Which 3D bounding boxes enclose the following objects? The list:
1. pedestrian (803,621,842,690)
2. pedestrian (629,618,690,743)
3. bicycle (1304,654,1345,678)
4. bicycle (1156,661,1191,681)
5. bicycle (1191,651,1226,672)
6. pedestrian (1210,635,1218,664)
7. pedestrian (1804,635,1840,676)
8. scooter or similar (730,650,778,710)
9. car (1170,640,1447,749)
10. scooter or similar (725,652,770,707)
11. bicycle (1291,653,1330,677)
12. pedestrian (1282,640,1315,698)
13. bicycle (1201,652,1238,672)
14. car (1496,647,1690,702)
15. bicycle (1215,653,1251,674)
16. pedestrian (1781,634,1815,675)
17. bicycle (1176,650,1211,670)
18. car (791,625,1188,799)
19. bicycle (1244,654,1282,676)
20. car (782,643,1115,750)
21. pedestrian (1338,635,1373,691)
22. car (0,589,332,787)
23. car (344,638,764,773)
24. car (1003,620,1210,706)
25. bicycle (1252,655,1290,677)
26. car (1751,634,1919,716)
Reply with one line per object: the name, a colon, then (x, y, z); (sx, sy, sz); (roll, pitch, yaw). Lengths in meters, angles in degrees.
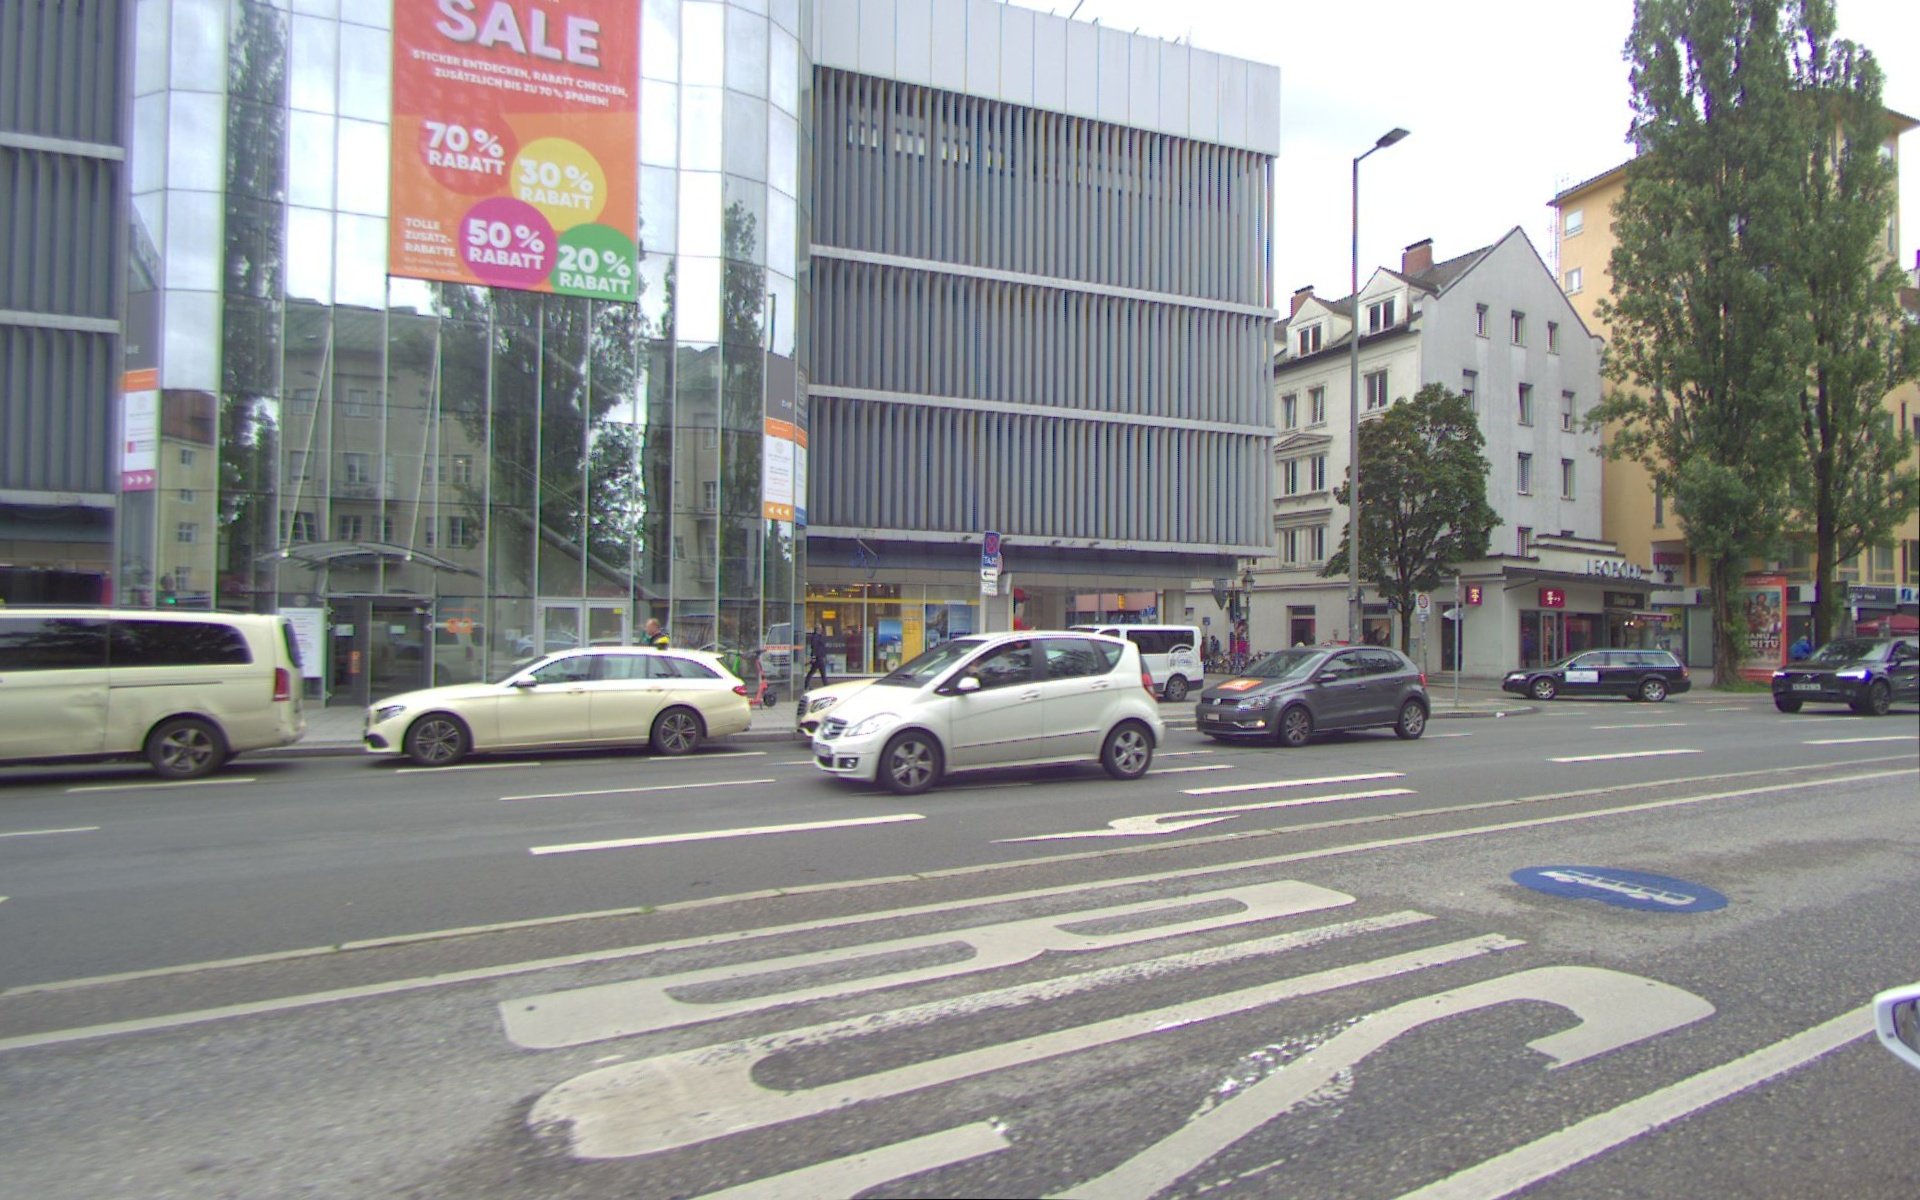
pedestrian: (-3.793, 1.524, 27.685); (0.891, 1.859, 0.861); (1, -2, -20)
pedestrian: (-4.733, 1.241, 15.788); (0.778, 1.891, 0.841); (1, -2, -25)
bicycle: (15.522, 2.804, 42.757); (1.856, 0.976, 0.457); (1, -2, -26)
bicycle: (10.912, 3.613, 51.337); (1.856, 0.976, 0.457); (1, -2, -26)
bicycle: (12.184, 3.004, 49.232); (1.856, 0.976, 0.457); (1, -2, -26)
pedestrian: (13.597, 2.648, 53.773); (0.346, 1.533, 0.309); (1, -2, -28)
pedestrian: (35.483, 2.285, 41.333); (0.752, 1.647, 0.838); (2, -1, -20)
scooter or similar: (-4.360, 1.688, 21.273); (0.989, 1.240, 0.252); (2, -2, -39)
car: (5.356, 1.367, 15.424); (3.948, 1.485, 1.778); (1, -3, -26)
scooter or similar: (-4.718, 1.743, 22.293); (0.251, 1.188, 0.991); (-1, -2, 44)
bicycle: (15.178, 2.803, 43.478); (1.856, 0.976, 0.457); (1, -2, -26)
pedestrian: (8.981, 1.828, 26.632); (0.647, 1.514, 0.543); (1, -2, -27)
bicycle: (12.587, 3.009, 48.721); (1.856, 0.976, 0.457); (1, -2, -26)
car: (18.109, 2.106, 29.016); (4.420, 1.458, 1.928); (-1, -2, 22)
bicycle: (13.007, 3.009, 47.832); (1.856, 0.976, 0.457); (1, -2, -26)
pedestrian: (35.211, 2.289, 42.206); (0.752, 1.647, 0.838); (2, -1, -20)
bicycle: (11.623, 2.996, 49.949); (1.856, 0.976, 0.457); (1, -2, -26)
car: (0.323, 1.109, 11.070); (3.946, 1.610, 1.948); (1, -2, -25)
bicycle: (13.913, 2.973, 46.055); (1.856, 0.976, 0.457); (1, -2, -26)
car: (-0.199, 1.451, 15.746); (4.903, 1.488, 1.856); (1, -4, -18)
pedestrian: (13.658, 2.172, 34.734); (0.817, 1.923, 0.860); (0, -2, -6)
car: (-10.278, 0.956, 11.307); (5.257, 2.040, 1.985); (2, -3, -29)
car: (-5.426, 1.324, 13.832); (5.021, 1.572, 1.970); (1, -2, -28)
car: (3.791, 1.584, 25.985); (5.039, 2.040, 1.989); (1, -2, -23)
bicycle: (14.126, 2.972, 45.581); (1.856, 0.976, 0.457); (1, -2, -26)
car: (21.043, 1.685, 23.397); (4.912, 1.739, 2.014); (1, -2, -23)
